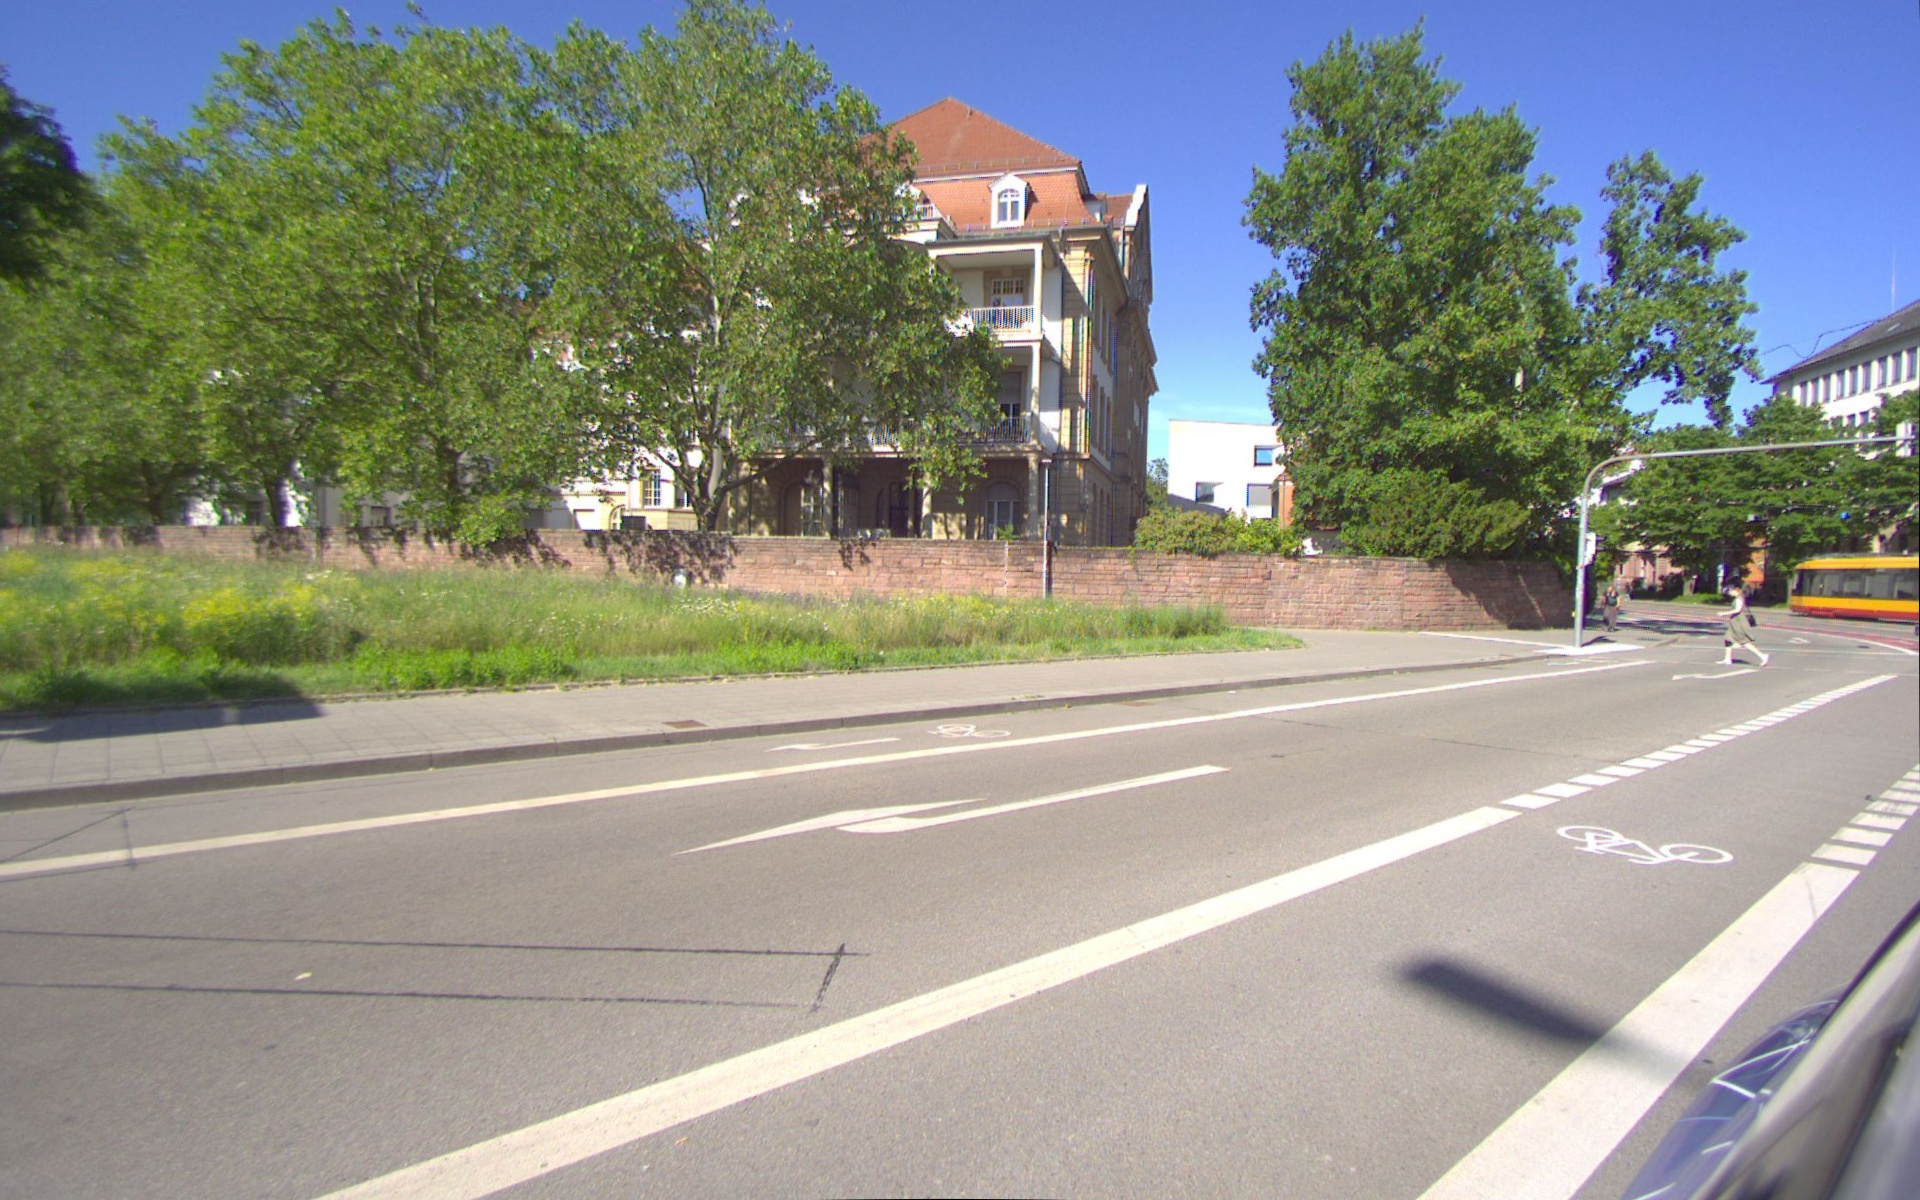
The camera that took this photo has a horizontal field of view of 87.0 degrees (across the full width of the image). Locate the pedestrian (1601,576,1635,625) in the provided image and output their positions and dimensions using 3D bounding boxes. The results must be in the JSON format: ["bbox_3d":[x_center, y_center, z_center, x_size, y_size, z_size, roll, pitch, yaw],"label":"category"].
[{"bbox_3d":[24.073,0.017,37.024,0.935,1.742,0.983,2,2,37],"label":"pedestrian"}]

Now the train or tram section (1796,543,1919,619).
[{"bbox_3d":[48.308,-0.970,52.122,2.760,3.645,12.488,2,2,13],"label":"train or tram section"}]

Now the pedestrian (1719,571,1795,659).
[{"bbox_3d":[17.856,0.310,22.698,1.221,1.878,0.817,2,2,35],"label":"pedestrian"}]

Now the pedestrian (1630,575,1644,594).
[{"bbox_3d":[65.636,-1.520,98.070,0.745,1.835,0.978,1,1,9],"label":"pedestrian"}]
